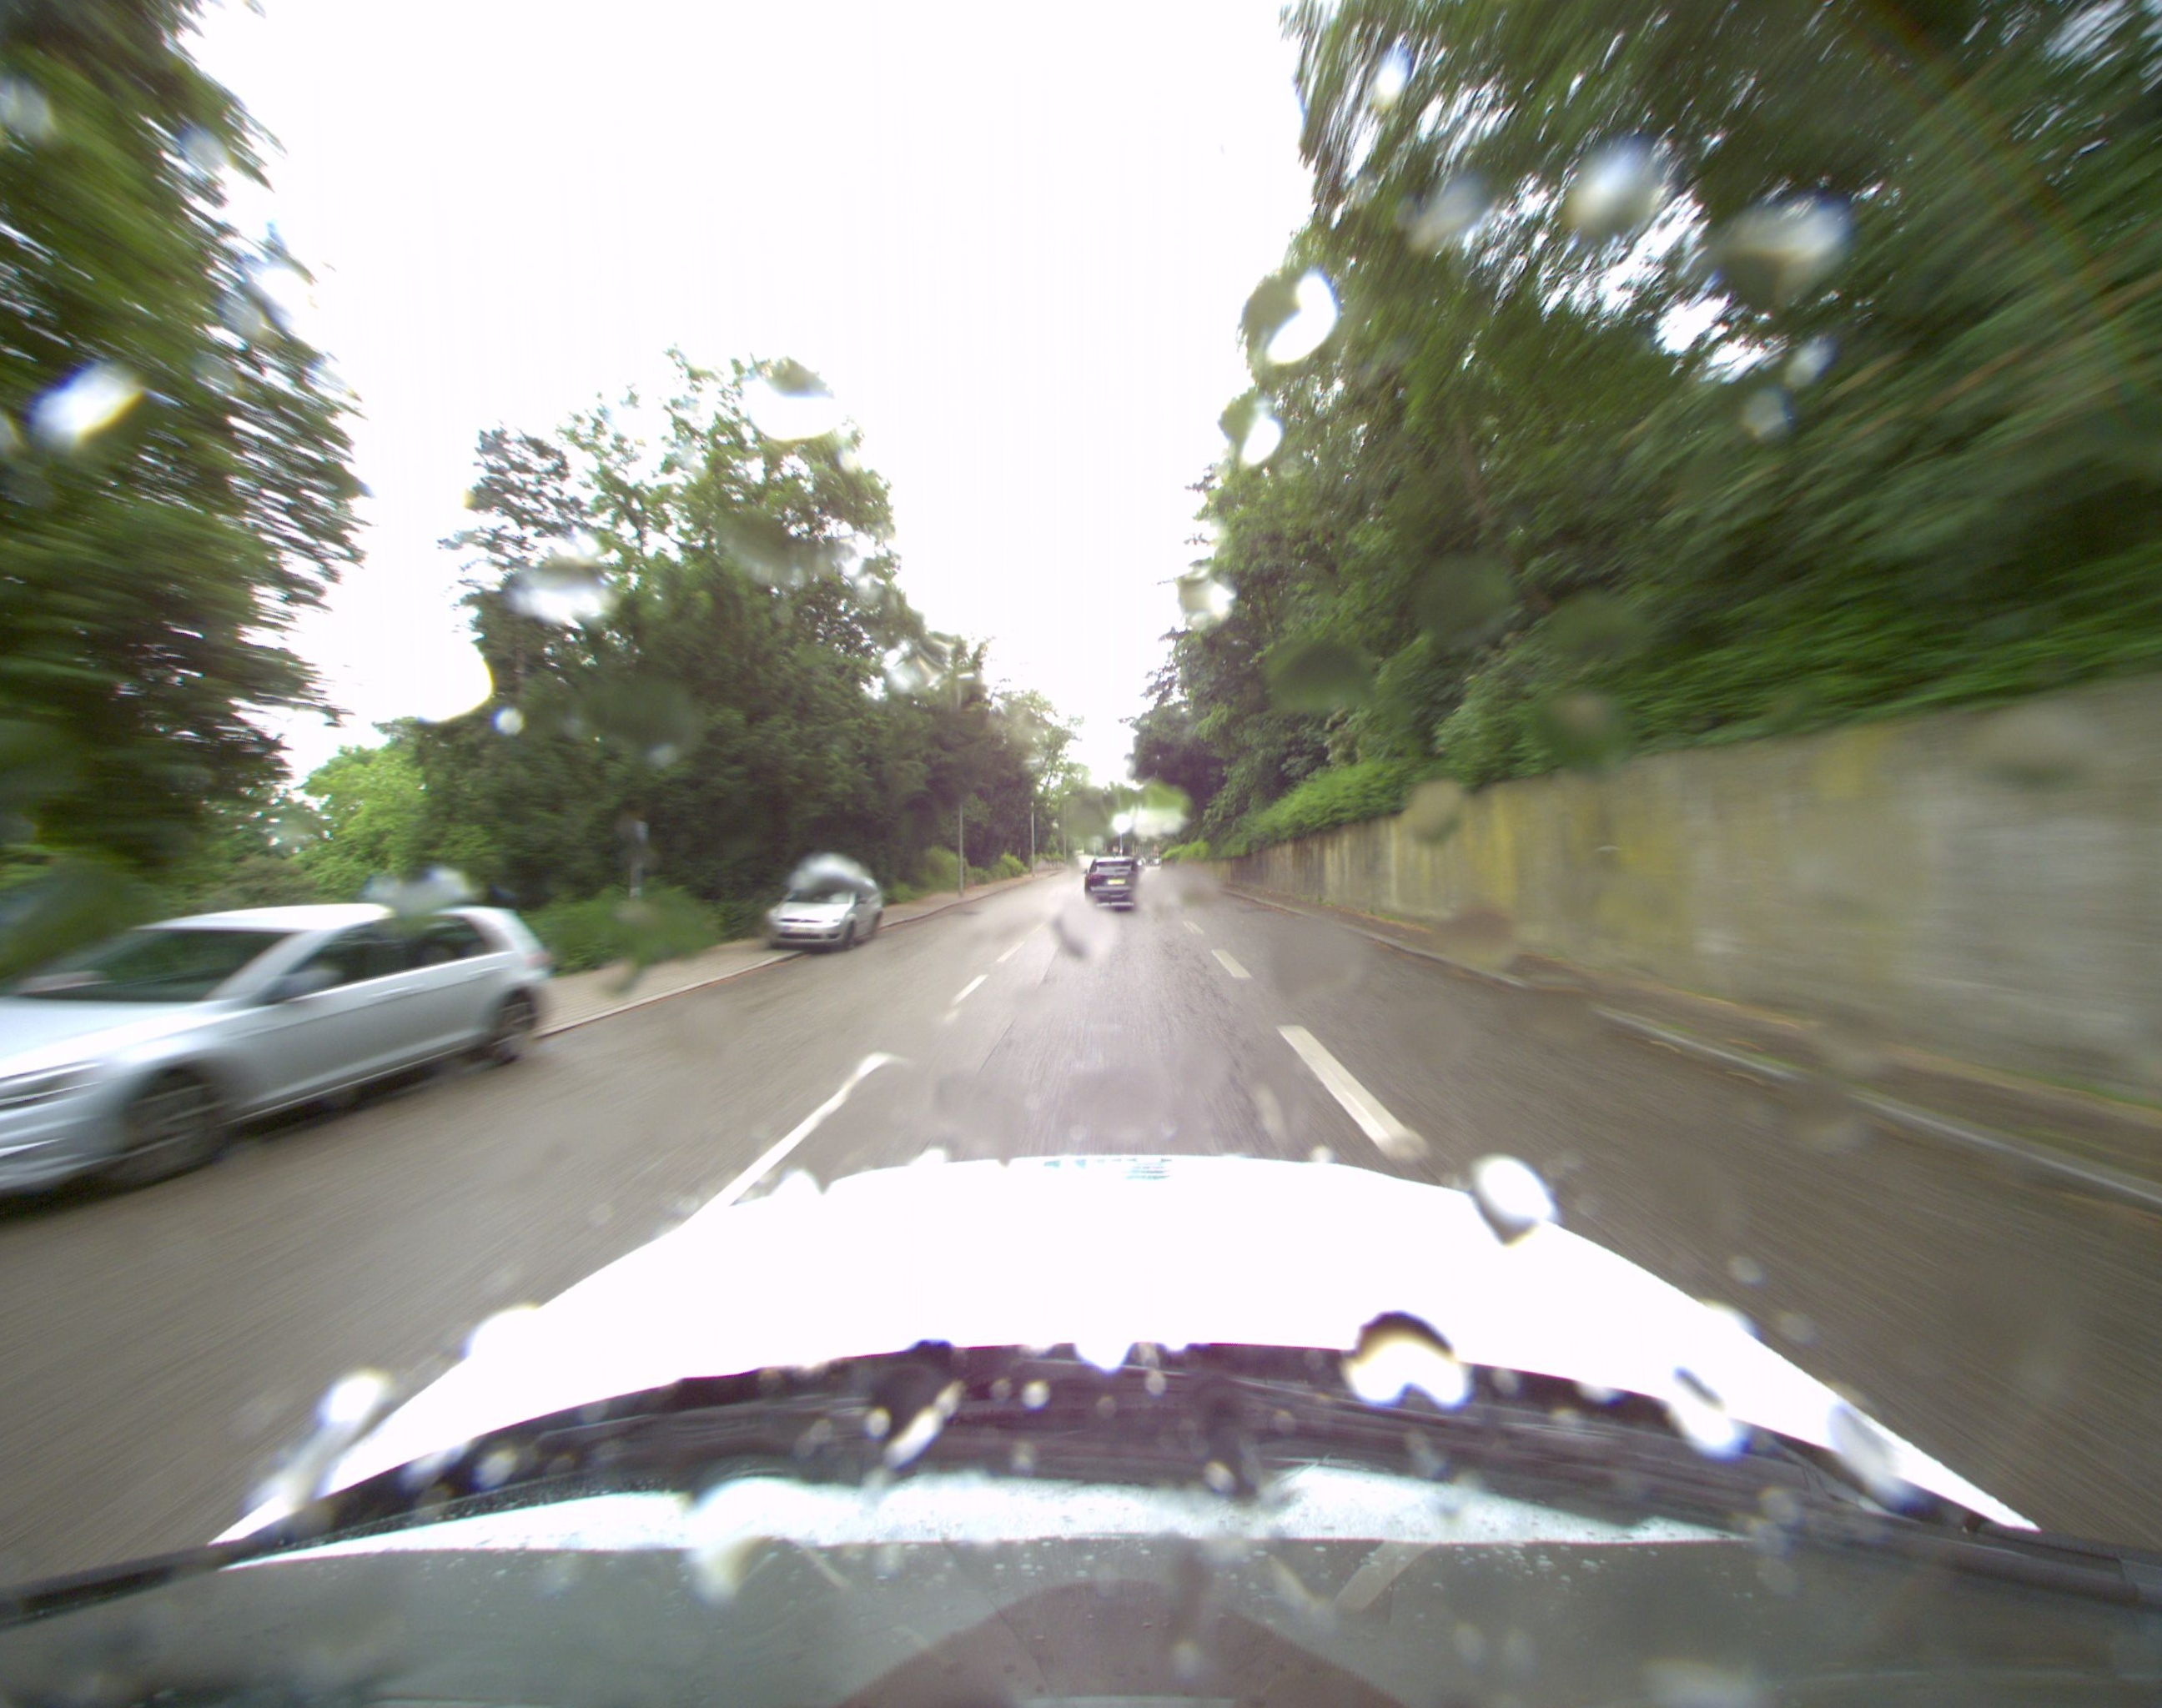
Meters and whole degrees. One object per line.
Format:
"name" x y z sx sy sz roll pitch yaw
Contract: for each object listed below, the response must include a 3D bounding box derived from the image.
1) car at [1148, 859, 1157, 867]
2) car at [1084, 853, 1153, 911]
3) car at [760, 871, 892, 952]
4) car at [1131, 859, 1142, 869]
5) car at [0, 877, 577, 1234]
"car" 13.565 1.737 154.393 1.667 1.496 3.466 -2 0 6
"car" 1.138 0.821 25.307 1.921 1.613 4.002 -2 0 2
"car" -5.355 1.149 17.632 1.621 1.499 3.927 0 0 0
"car" 9.932 1.778 145.219 1.822 1.711 4.004 -1 -1 4
"car" -6.048 1.090 5.929 1.879 1.611 4.242 -4 -1 2
